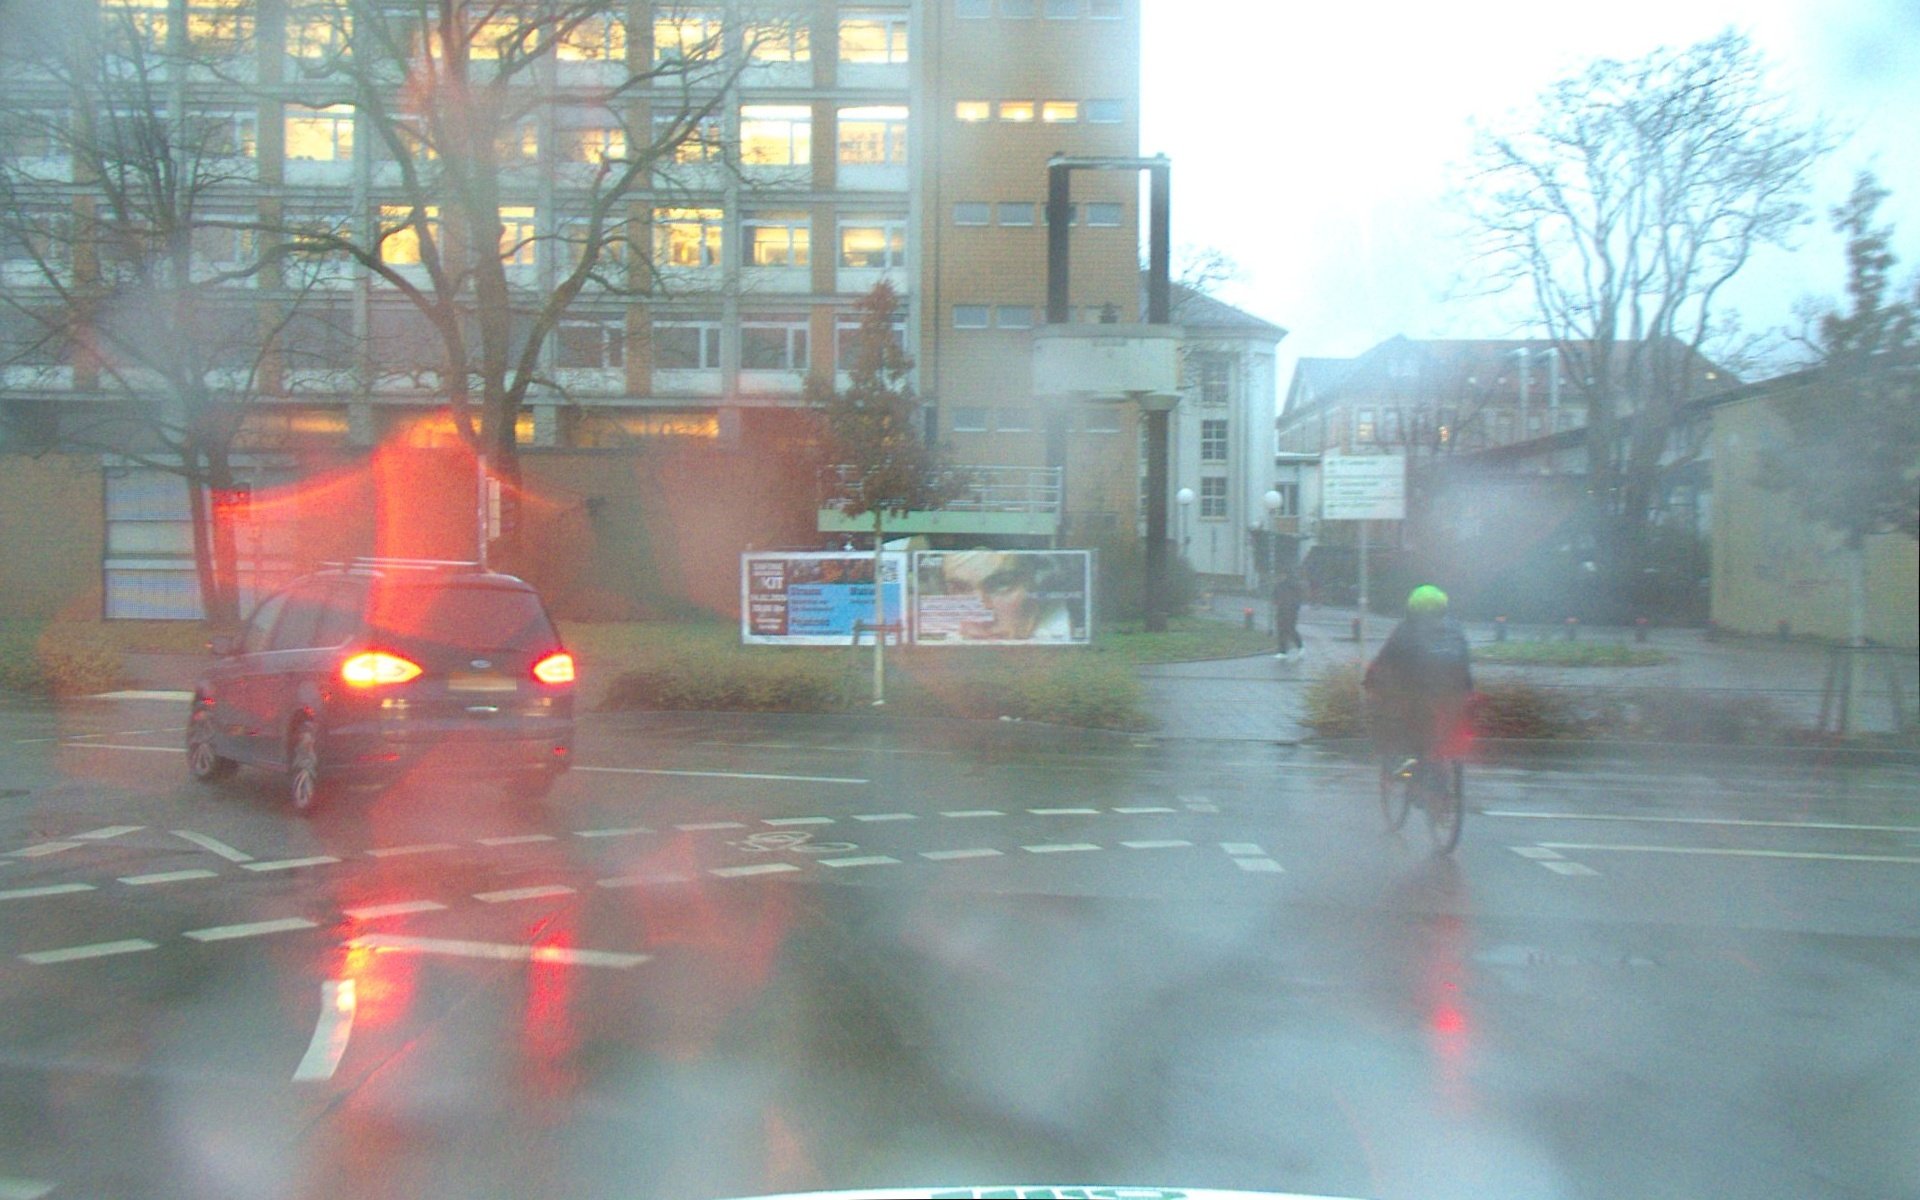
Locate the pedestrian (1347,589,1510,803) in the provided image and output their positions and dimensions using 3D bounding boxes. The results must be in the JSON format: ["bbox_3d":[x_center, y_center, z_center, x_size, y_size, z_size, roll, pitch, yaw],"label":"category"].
[{"bbox_3d":[3.068,0.607,10.901,0.856,1.339,0.848,0,1,2],"label":"pedestrian"}]

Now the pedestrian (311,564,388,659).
[{"bbox_3d":[-11.421,0.198,30.941,1.045,1.717,0.810,0,2,22],"label":"pedestrian"}]

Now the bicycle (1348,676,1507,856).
[{"bbox_3d":[3.097,1.060,11.136,0.550,0.963,2.096,0,1,2],"label":"bicycle"}]

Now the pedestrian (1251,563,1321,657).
[{"bbox_3d":[6.165,0.185,31.331,0.912,1.716,0.906,0,3,-23],"label":"pedestrian"}]

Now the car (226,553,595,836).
[{"bbox_3d":[-4.490,0.590,13.058,1.761,1.832,4.375,1,0,-32],"label":"car"}]
